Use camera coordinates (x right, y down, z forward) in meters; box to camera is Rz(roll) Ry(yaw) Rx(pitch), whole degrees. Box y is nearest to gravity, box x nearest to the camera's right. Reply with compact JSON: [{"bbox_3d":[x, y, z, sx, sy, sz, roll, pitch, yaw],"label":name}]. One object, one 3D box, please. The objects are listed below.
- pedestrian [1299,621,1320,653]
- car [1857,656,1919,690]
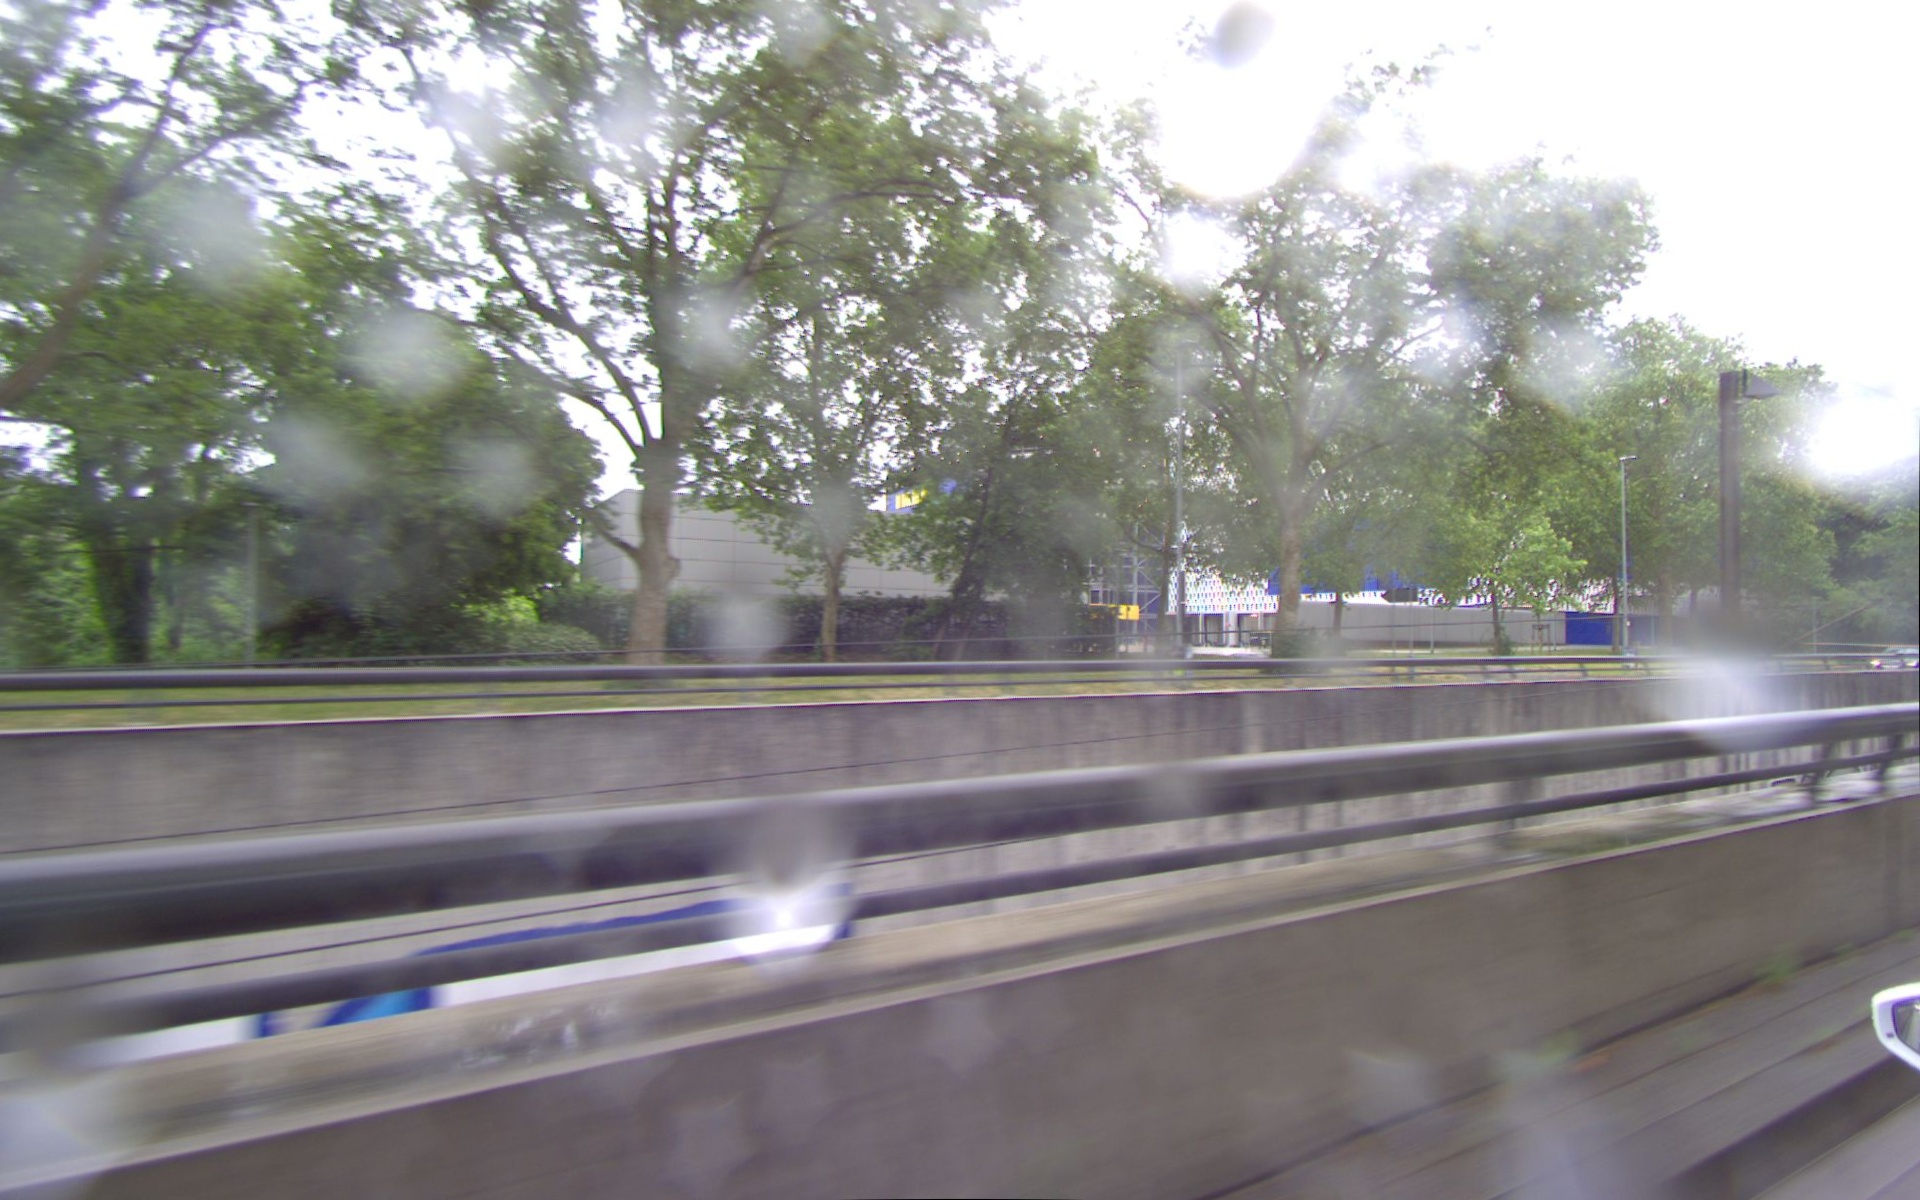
[{"bbox_3d":[22.859,2.402,65.697,0.780,2.040,0.997,1,0,-28],"label":"pedestrian"},{"bbox_3d":[43.780,3.353,46.617,3.745,1.422,1.986,1,-2,-27],"label":"car"}]
